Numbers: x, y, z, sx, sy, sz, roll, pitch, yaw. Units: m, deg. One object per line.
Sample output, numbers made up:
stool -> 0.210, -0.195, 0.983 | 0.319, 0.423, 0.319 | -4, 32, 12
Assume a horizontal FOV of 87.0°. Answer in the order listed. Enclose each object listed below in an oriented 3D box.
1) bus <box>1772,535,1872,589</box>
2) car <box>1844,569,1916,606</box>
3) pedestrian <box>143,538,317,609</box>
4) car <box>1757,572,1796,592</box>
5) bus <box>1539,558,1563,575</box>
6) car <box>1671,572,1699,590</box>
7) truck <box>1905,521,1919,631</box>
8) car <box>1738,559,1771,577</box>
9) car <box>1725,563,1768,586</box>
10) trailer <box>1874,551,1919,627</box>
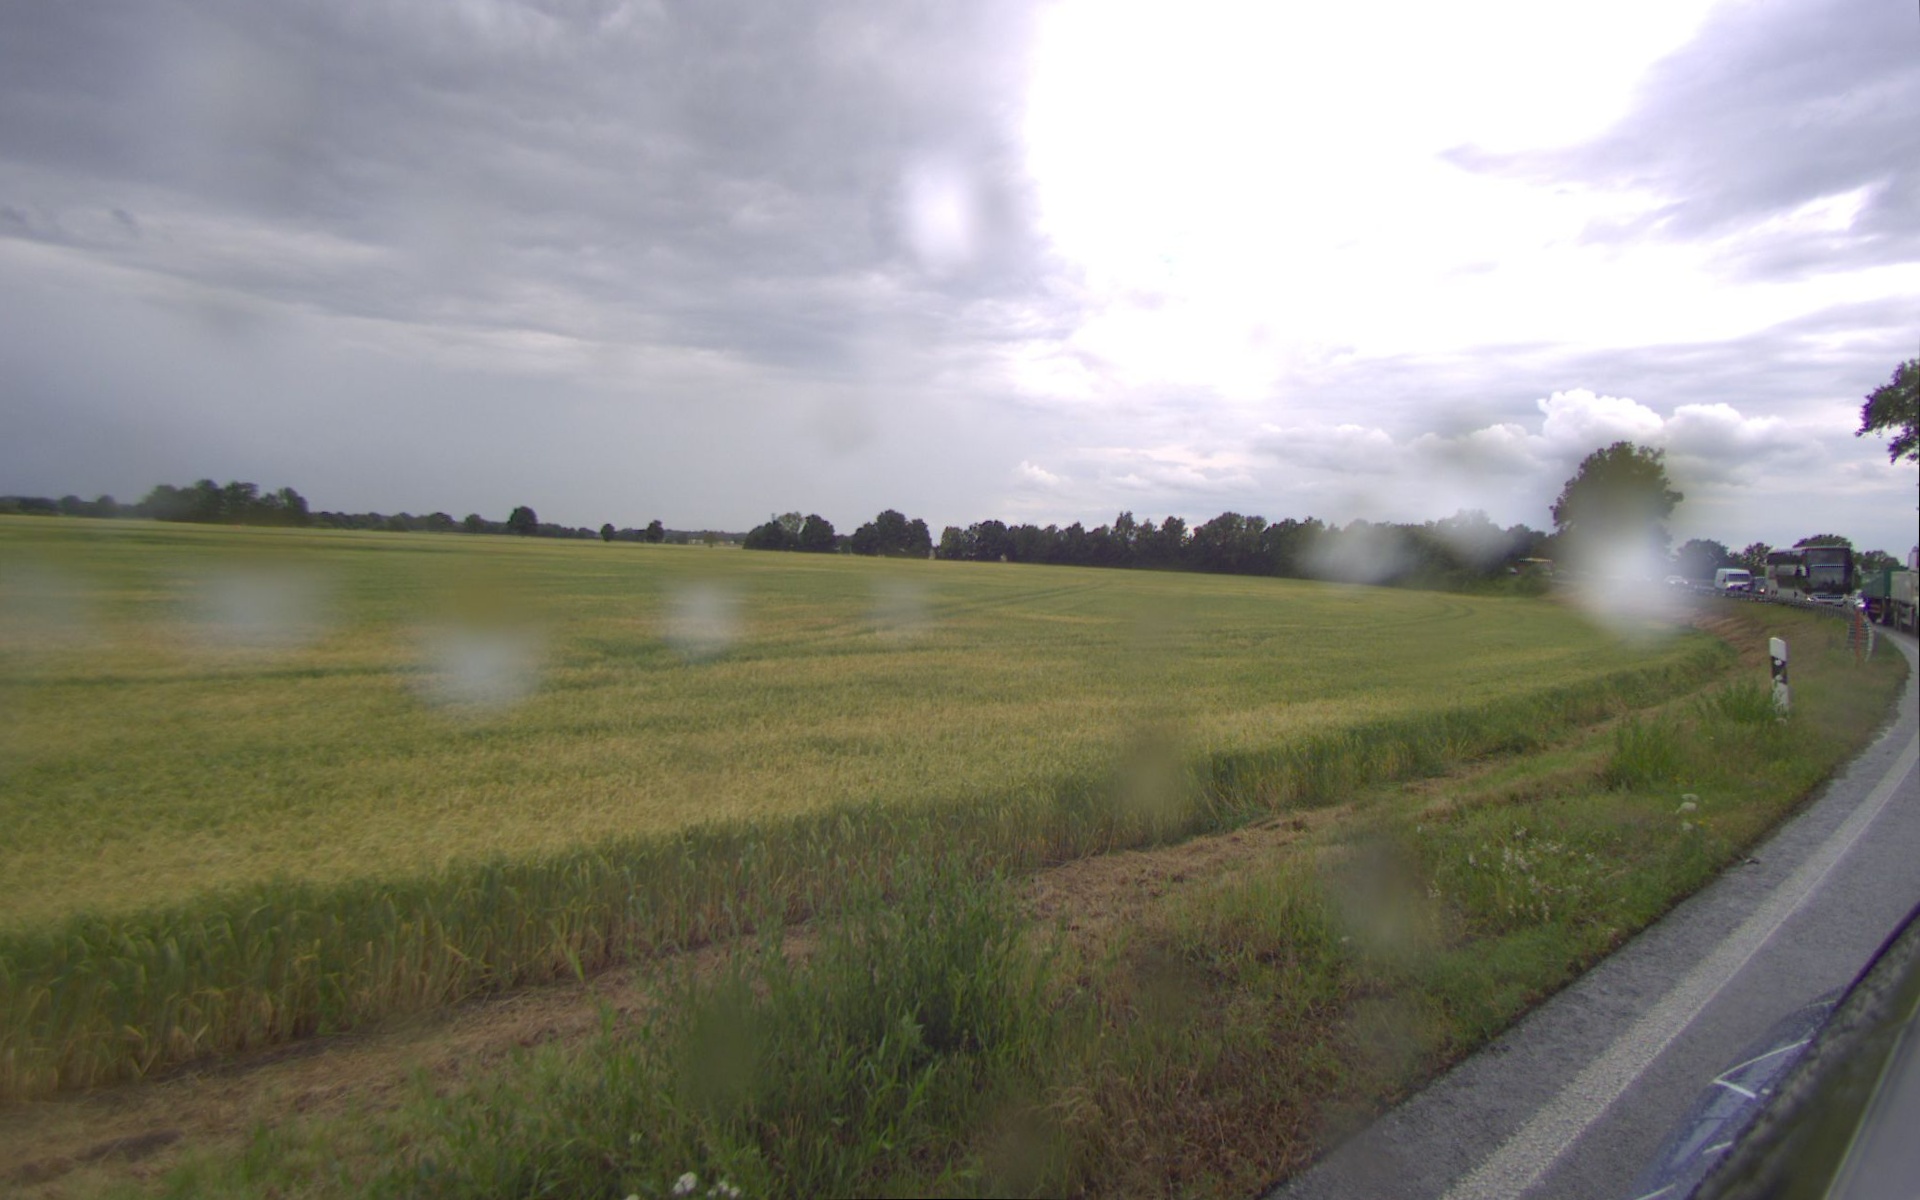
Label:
bus -> 58.970, -2.651, 69.655 | 2.942, 3.353, 14.678 | 0, 2, 31
car -> 48.685, -0.686, 53.678 | 2.029, 1.865, 5.273 | 0, 1, 33
pedestrian -> -22.338, -0.811, 31.083 | 1.989, 2.039, 3.946 | 0, 1, 38
car -> 66.273, -1.477, 82.211 | 1.799, 1.597, 3.959 | 0, 1, 30
bus -> 110.781, -6.251, 189.852 | 1.970, 2.951, 6.982 | -1, 1, 13
car -> 84.061, -2.191, 117.377 | 1.980, 2.039, 4.195 | 0, 1, 26
truck -> 34.200, -0.837, 34.107 | 2.970, 3.655, 5.997 | 0, 1, 39
car -> 95.306, -3.842, 121.439 | 1.977, 2.039, 4.090 | 0, 1, 22
car -> 72.205, -2.369, 92.965 | 1.979, 2.038, 5.291 | 0, 1, 25
trailer -> 39.447, -0.577, 40.720 | 2.970, 2.665, 15.466 | 0, 2, 38
